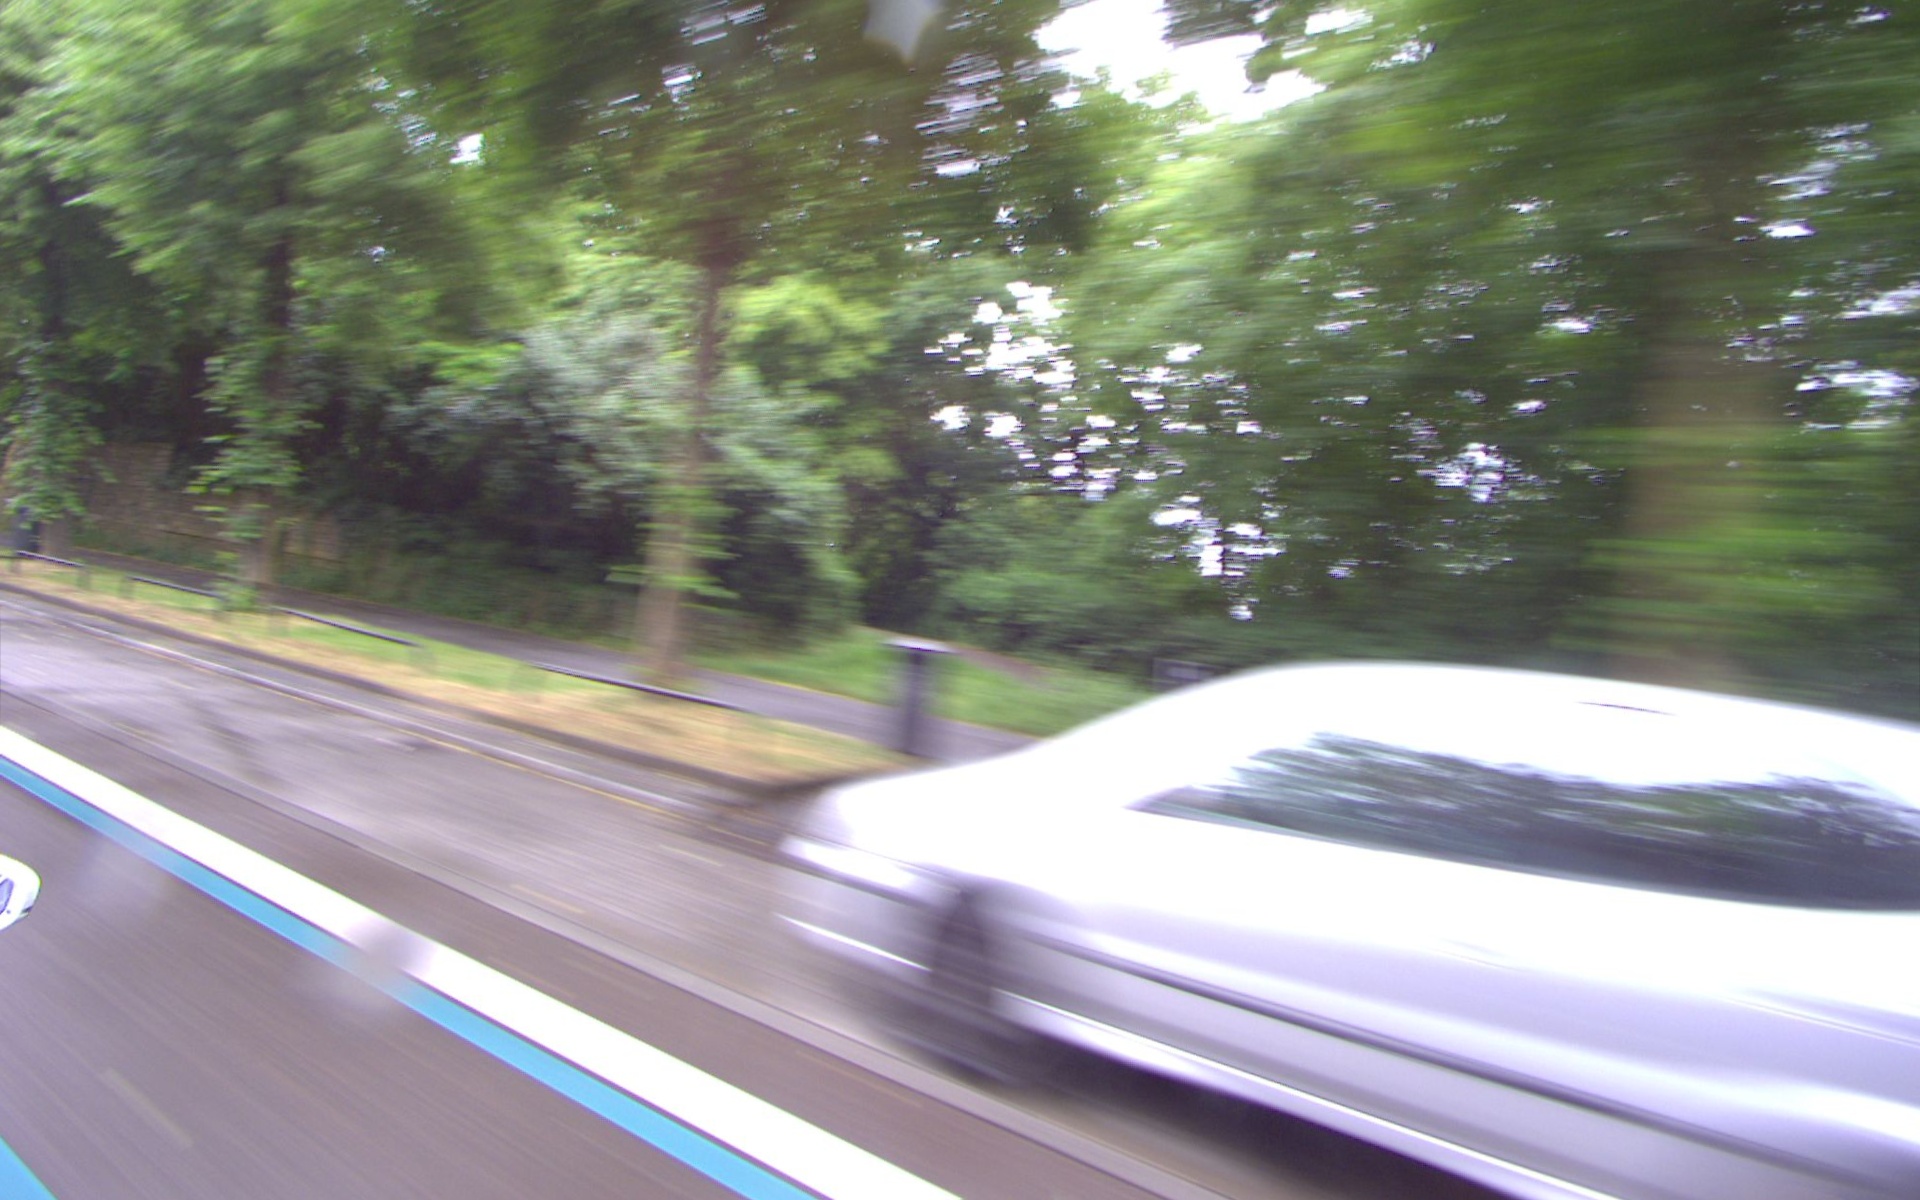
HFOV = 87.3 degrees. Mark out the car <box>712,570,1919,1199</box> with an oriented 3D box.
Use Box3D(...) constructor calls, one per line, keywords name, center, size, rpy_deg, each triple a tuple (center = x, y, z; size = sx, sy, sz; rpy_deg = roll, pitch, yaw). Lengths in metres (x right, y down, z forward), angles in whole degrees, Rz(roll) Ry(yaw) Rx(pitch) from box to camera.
Box3D(name="car", center=(1.557, 1.007, 3.447), size=(4.661, 1.615, 1.757), rpy_deg=(7, -2, 31))
